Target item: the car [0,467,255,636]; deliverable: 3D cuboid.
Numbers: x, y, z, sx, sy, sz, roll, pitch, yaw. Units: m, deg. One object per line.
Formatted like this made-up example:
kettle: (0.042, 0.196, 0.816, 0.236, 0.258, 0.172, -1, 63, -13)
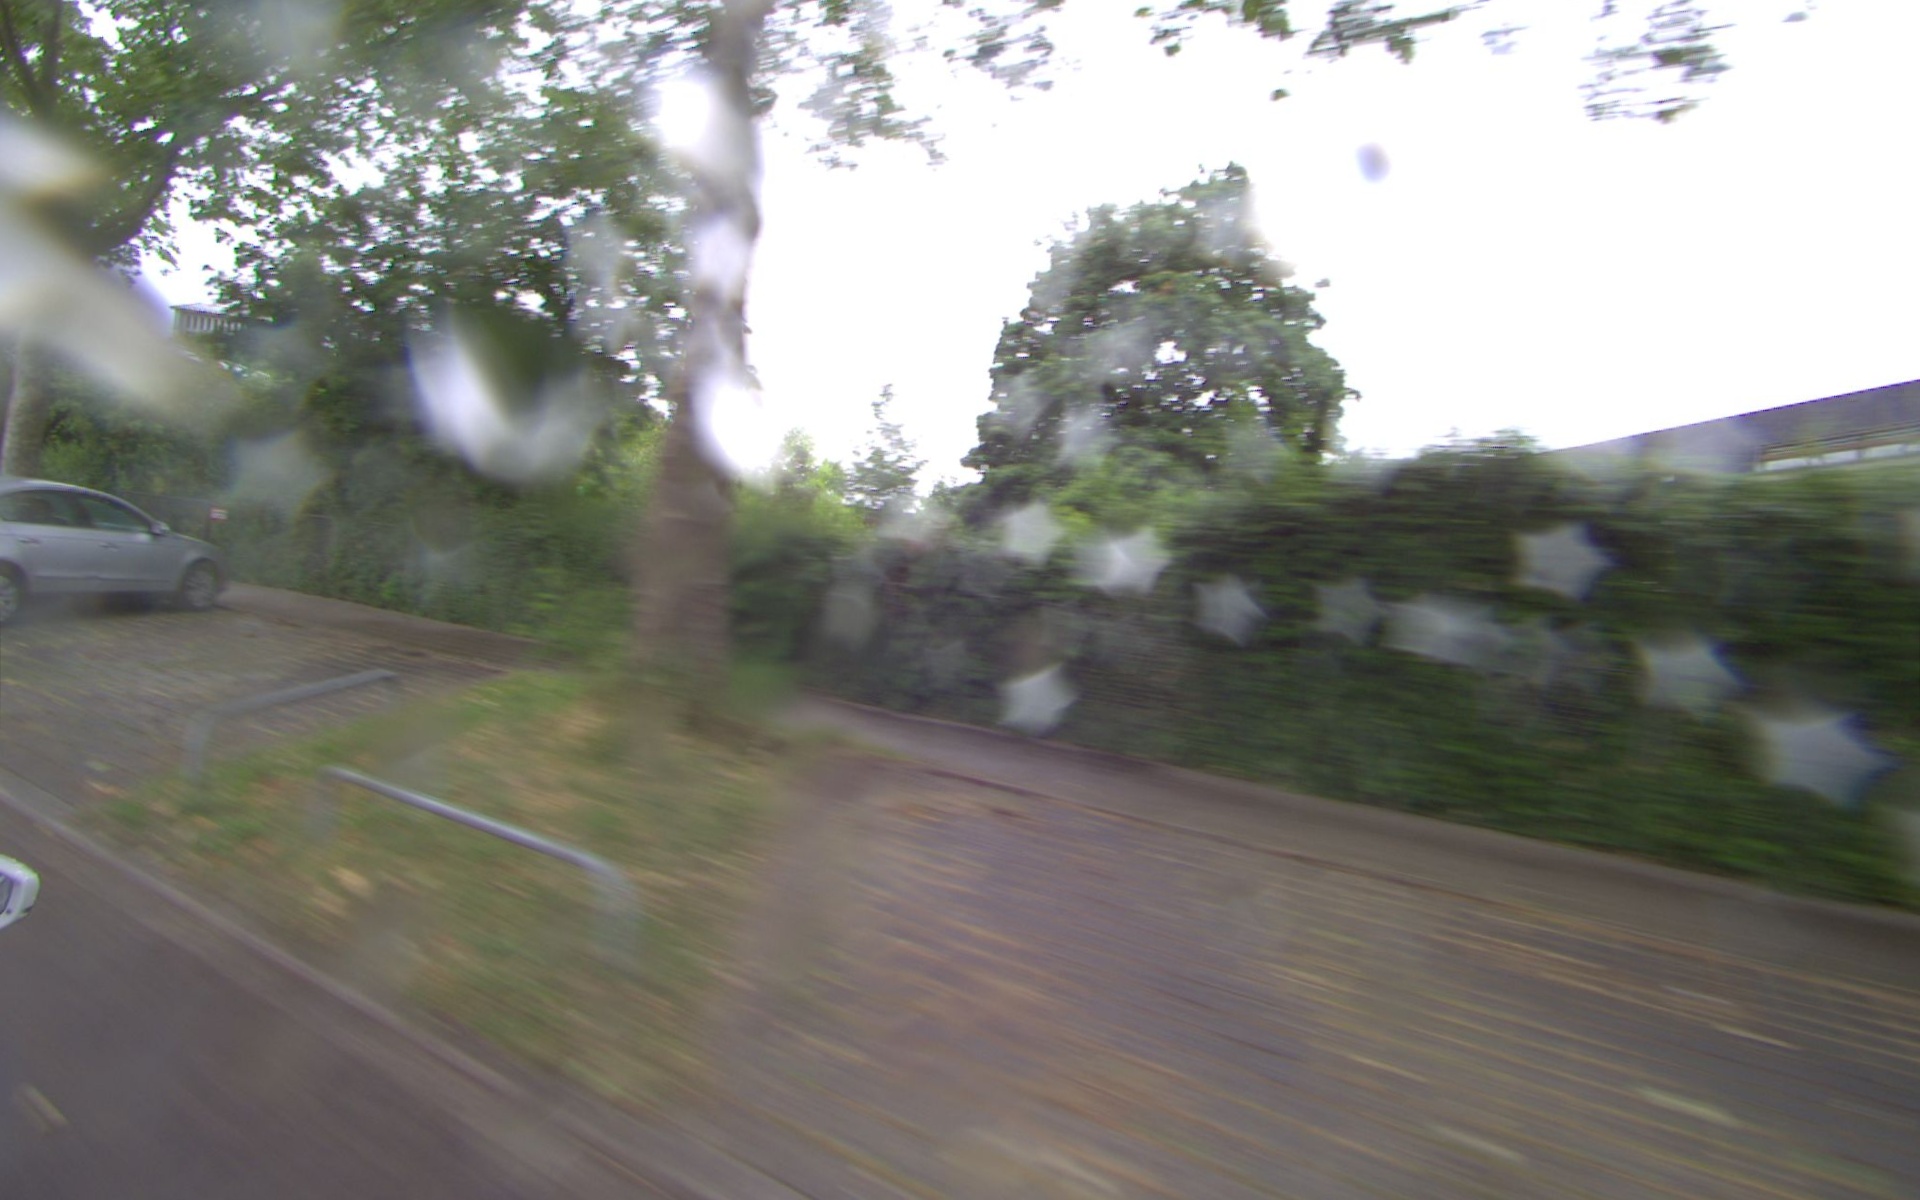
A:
car: (-10.169, -0.594, 10.853, 1.853, 1.566, 4.553, 7, 3, -1)
